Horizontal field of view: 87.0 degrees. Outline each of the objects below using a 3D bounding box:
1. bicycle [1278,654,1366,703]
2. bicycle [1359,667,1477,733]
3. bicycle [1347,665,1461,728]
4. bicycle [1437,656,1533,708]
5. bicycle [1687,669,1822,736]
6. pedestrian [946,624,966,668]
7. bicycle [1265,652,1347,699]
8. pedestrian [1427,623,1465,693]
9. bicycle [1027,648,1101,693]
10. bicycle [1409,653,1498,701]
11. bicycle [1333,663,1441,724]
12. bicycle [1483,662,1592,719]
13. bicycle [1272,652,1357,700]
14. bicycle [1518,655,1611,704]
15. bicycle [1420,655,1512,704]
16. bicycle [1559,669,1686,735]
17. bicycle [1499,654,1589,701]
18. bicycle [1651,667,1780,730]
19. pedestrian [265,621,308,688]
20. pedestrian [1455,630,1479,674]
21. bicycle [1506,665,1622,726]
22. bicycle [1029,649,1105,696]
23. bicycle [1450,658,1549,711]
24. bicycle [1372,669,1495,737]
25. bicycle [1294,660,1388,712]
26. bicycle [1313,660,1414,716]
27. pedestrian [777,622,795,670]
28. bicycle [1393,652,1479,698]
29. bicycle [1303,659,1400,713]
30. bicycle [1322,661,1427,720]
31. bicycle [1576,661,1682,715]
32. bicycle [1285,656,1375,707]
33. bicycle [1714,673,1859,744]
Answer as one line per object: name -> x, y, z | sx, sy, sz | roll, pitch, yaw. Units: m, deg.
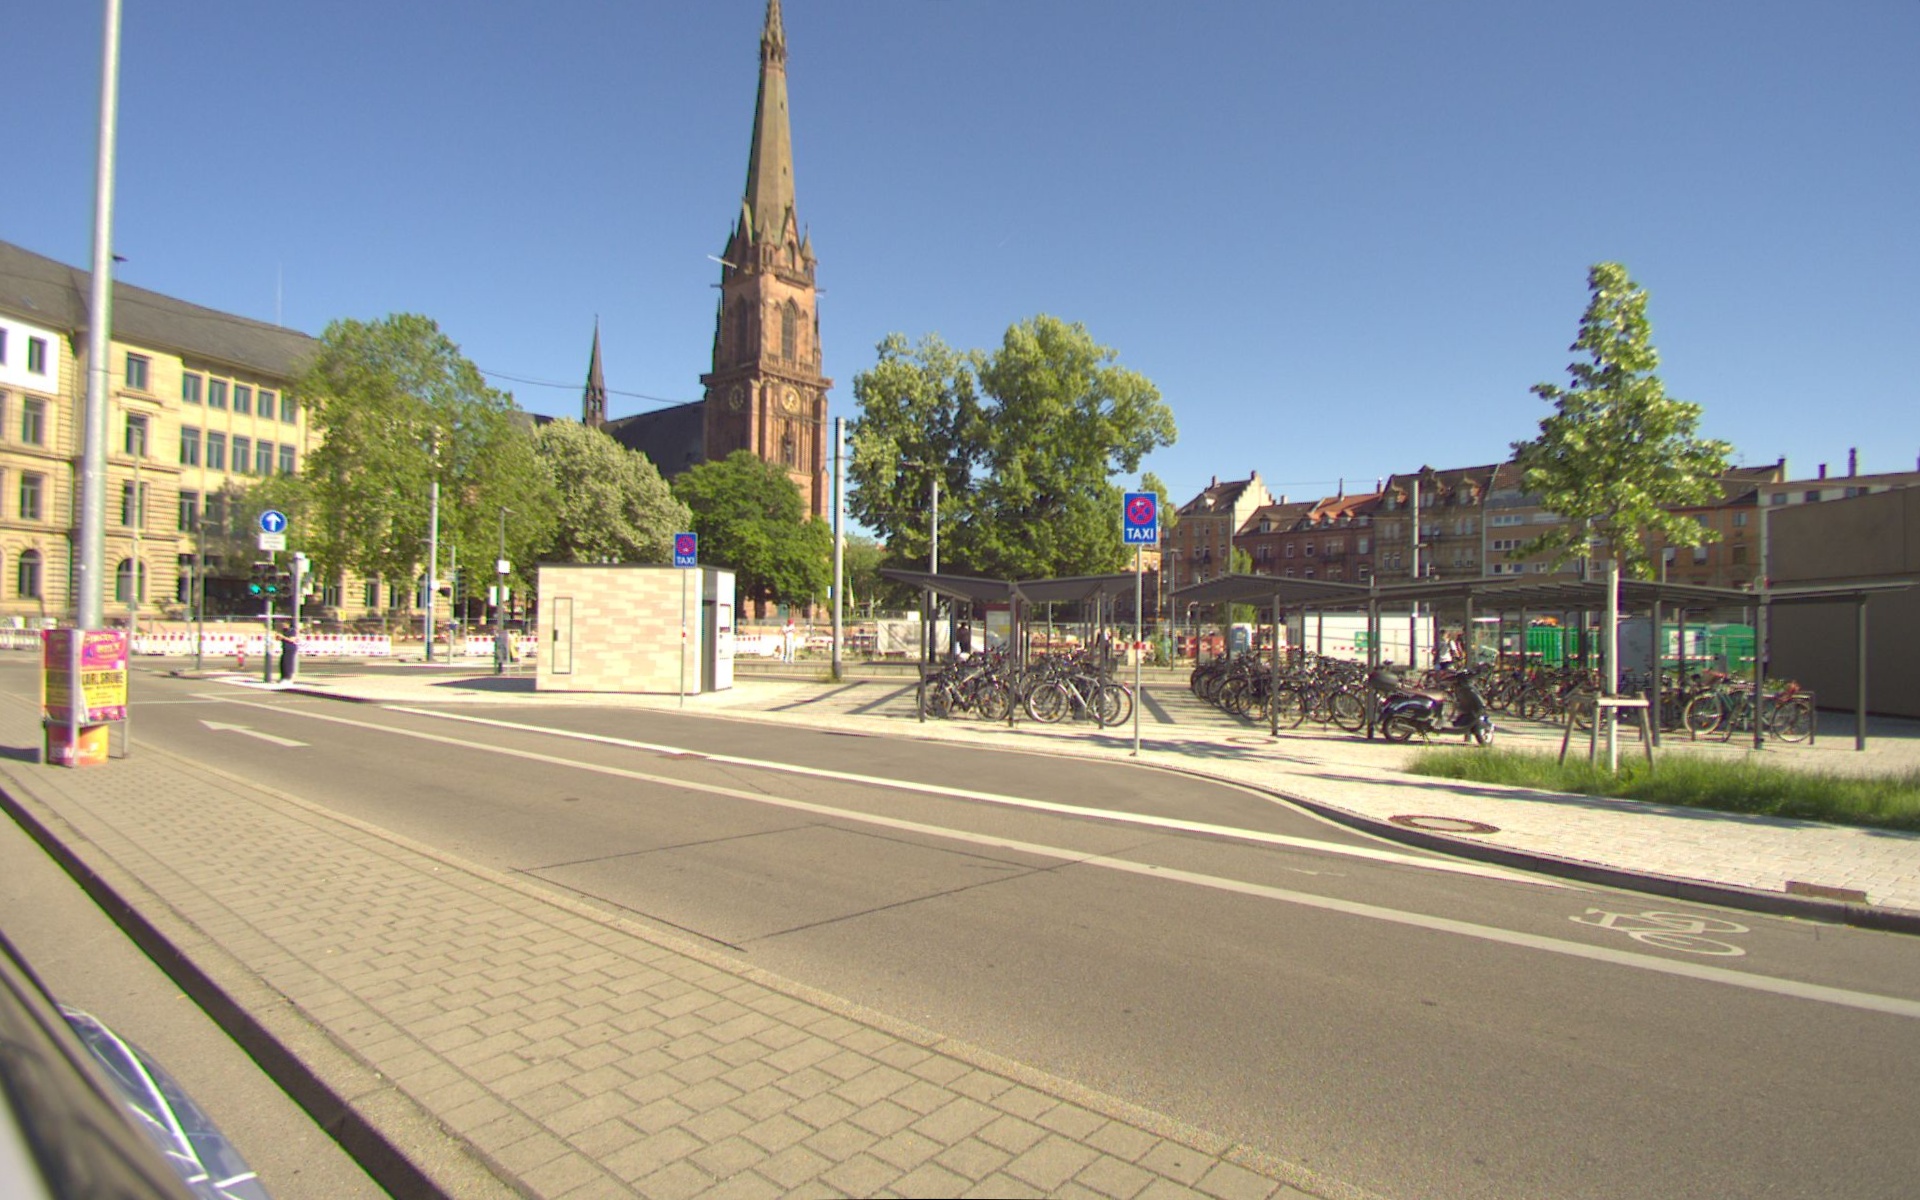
bicycle -> 8.202, 1.779, 22.964 | 1.765, 1.046, 0.567 | 1, -3, 4
bicycle -> 7.898, 1.715, 17.499 | 1.765, 1.046, 0.567 | 1, -3, 4
bicycle -> 7.923, 1.709, 18.103 | 1.765, 1.046, 0.567 | 1, -3, 4
bicycle -> 11.438, 1.780, 22.090 | 1.765, 1.046, 0.567 | 1, -3, 4
bicycle -> 13.391, 1.726, 17.084 | 1.765, 1.046, 0.567 | 1, -3, 4
pedestrian -> -0.158, 1.766, 39.110 | 0.518, 1.667, 0.559 | -1, 0, 41
bicycle -> 8.276, 1.798, 24.235 | 1.765, 1.046, 0.567 | 1, -3, 4
pedestrian -> 12.241, 1.439, 25.496 | 0.671, 1.736, 0.619 | 2, -2, -37
bicycle -> 2.534, 1.719, 24.813 | 1.765, 1.046, 0.567 | 1, -3, 4
bicycle -> 11.450, 1.788, 23.504 | 1.765, 1.046, 0.567 | 1, -3, 4
bicycle -> 7.933, 1.733, 18.846 | 1.765, 1.046, 0.567 | 1, -3, 4
bicycle -> 11.291, 1.767, 19.824 | 1.765, 1.046, 0.567 | 1, -3, 4
bicycle -> 8.246, 1.759, 23.599 | 1.765, 1.046, 0.567 | 1, -3, 4
bicycle -> 13.891, 1.819, 23.275 | 1.765, 1.046, 0.567 | 1, -3, 4
bicycle -> 11.417, 1.794, 22.883 | 1.765, 1.046, 0.567 | 1, -3, 4
bicycle -> 11.457, 1.755, 17.536 | 1.765, 1.046, 0.567 | 1, -3, 4
bicycle -> 13.836, 1.819, 23.990 | 1.765, 1.046, 0.567 | 1, -3, 4
bicycle -> 13.597, 1.754, 18.249 | 1.769, 1.046, 0.566 | 1, -3, 12
pedestrian -> -17.577, 1.401, 26.410 | 0.648, 1.693, 0.779 | -1, 0, 42
pedestrian -> 17.714, 1.805, 35.370 | 0.581, 1.530, 0.559 | 1, -2, 6
bicycle -> 11.217, 1.768, 18.827 | 1.765, 1.046, 0.567 | 1, -3, 4
bicycle -> 2.541, 1.721, 24.181 | 1.765, 1.046, 0.567 | 1, -3, 4
bicycle -> 11.377, 1.765, 21.373 | 1.765, 1.046, 0.567 | 1, -3, 4
bicycle -> 7.855, 1.694, 16.836 | 1.765, 1.046, 0.567 | 1, -3, 4
bicycle -> 8.116, 1.828, 21.596 | 1.765, 1.046, 0.567 | 1, -3, 4
bicycle -> 8.025, 1.749, 20.170 | 1.765, 1.046, 0.567 | 1, -3, 4
pedestrian -> -6.440, 1.709, 37.497 | 0.529, 1.736, 0.684 | 0, -6, -19
bicycle -> 11.381, 1.785, 24.218 | 1.765, 1.046, 0.567 | 1, -3, 4
bicycle -> 8.067, 1.770, 20.880 | 1.765, 1.046, 0.567 | 1, -3, 4
bicycle -> 7.965, 1.732, 19.483 | 1.765, 1.046, 0.567 | 1, -3, 4
bicycle -> 13.849, 1.820, 20.989 | 1.765, 1.046, 0.567 | 1, -3, 4
bicycle -> 8.153, 1.787, 22.362 | 1.765, 1.046, 0.567 | 1, -3, 4
bicycle -> 13.164, 1.721, 16.149 | 1.765, 1.046, 0.567 | 1, -3, 4
